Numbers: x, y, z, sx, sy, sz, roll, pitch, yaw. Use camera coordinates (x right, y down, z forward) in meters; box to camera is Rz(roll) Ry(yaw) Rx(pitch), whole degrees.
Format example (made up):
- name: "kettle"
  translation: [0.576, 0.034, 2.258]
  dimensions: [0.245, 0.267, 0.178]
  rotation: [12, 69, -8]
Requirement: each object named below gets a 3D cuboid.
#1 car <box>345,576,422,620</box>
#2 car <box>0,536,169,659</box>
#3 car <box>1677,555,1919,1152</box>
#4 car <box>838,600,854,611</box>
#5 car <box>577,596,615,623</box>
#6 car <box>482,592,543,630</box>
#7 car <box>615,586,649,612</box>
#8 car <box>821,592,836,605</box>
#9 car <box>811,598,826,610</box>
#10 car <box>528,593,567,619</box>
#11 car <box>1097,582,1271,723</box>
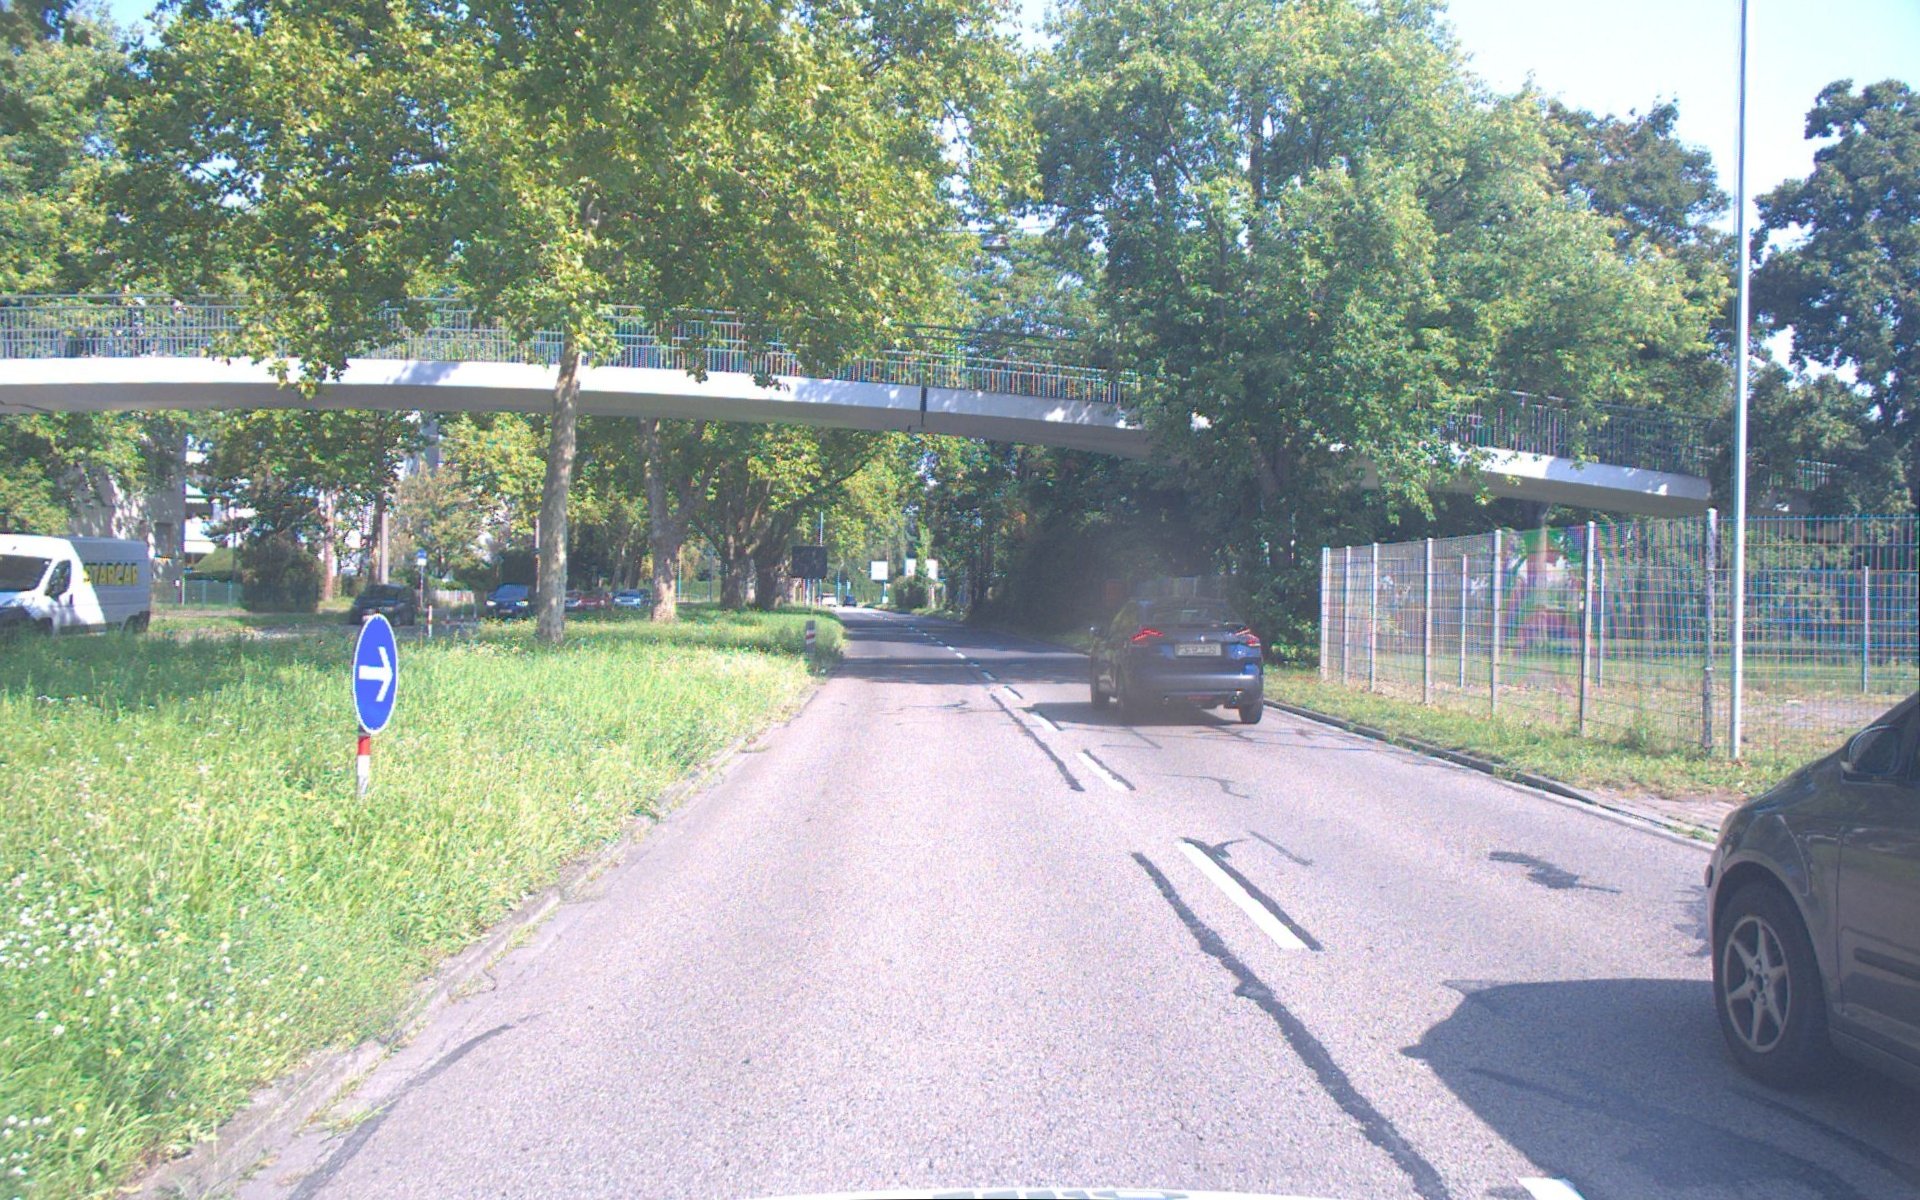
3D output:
- name: "car"
  translation: [-21.711, -0.071, 62.401]
  dimensions: [1.491, 1.560, 3.864]
  rotation: [1, 0, 1]
- name: "car"
  translation: [-20.019, -0.058, 36.596]
  dimensions: [2.163, 2.472, 6.262]
  rotation: [1, 0, -2]
- name: "car"
  translation: [3.387, 0.690, 3.860]
  dimensions: [1.612, 1.584, 3.897]
  rotation: [1, 0, -2]
- name: "car"
  translation: [-14.387, 0.697, 208.360]
  dimensions: [1.763, 1.426, 3.994]
  rotation: [1, 0, -7]
- name: "car"
  translation: [-21.629, 0.549, 98.385]
  dimensions: [1.658, 1.560, 4.065]
  rotation: [1, 0, -5]
- name: "car"
  translation: [-19.692, 0.479, 72.913]
  dimensions: [1.752, 1.560, 4.452]
  rotation: [1, 0, -4]
- name: "car"
  translation: [-23.188, -0.086, 116.889]
  dimensions: [1.766, 1.750, 4.716]
  rotation: [1, 0, -4]
- name: "car"
  translation: [-15.613, -0.180, 196.484]
  dimensions: [1.654, 1.487, 3.996]
  rotation: [1, 0, -5]
- name: "car"
  translation: [-18.174, 0.557, 212.153]
  dimensions: [1.653, 1.487, 3.848]
  rotation: [1, 0, -2]
- name: "car"
  translation: [-24.493, 0.357, 98.238]
  dimensions: [1.508, 1.477, 4.060]
  rotation: [1, 0, -4]
- name: "car"
  translation: [2.793, 0.623, 21.475]
  dimensions: [1.611, 1.616, 4.254]
  rotation: [1, 0, -1]
